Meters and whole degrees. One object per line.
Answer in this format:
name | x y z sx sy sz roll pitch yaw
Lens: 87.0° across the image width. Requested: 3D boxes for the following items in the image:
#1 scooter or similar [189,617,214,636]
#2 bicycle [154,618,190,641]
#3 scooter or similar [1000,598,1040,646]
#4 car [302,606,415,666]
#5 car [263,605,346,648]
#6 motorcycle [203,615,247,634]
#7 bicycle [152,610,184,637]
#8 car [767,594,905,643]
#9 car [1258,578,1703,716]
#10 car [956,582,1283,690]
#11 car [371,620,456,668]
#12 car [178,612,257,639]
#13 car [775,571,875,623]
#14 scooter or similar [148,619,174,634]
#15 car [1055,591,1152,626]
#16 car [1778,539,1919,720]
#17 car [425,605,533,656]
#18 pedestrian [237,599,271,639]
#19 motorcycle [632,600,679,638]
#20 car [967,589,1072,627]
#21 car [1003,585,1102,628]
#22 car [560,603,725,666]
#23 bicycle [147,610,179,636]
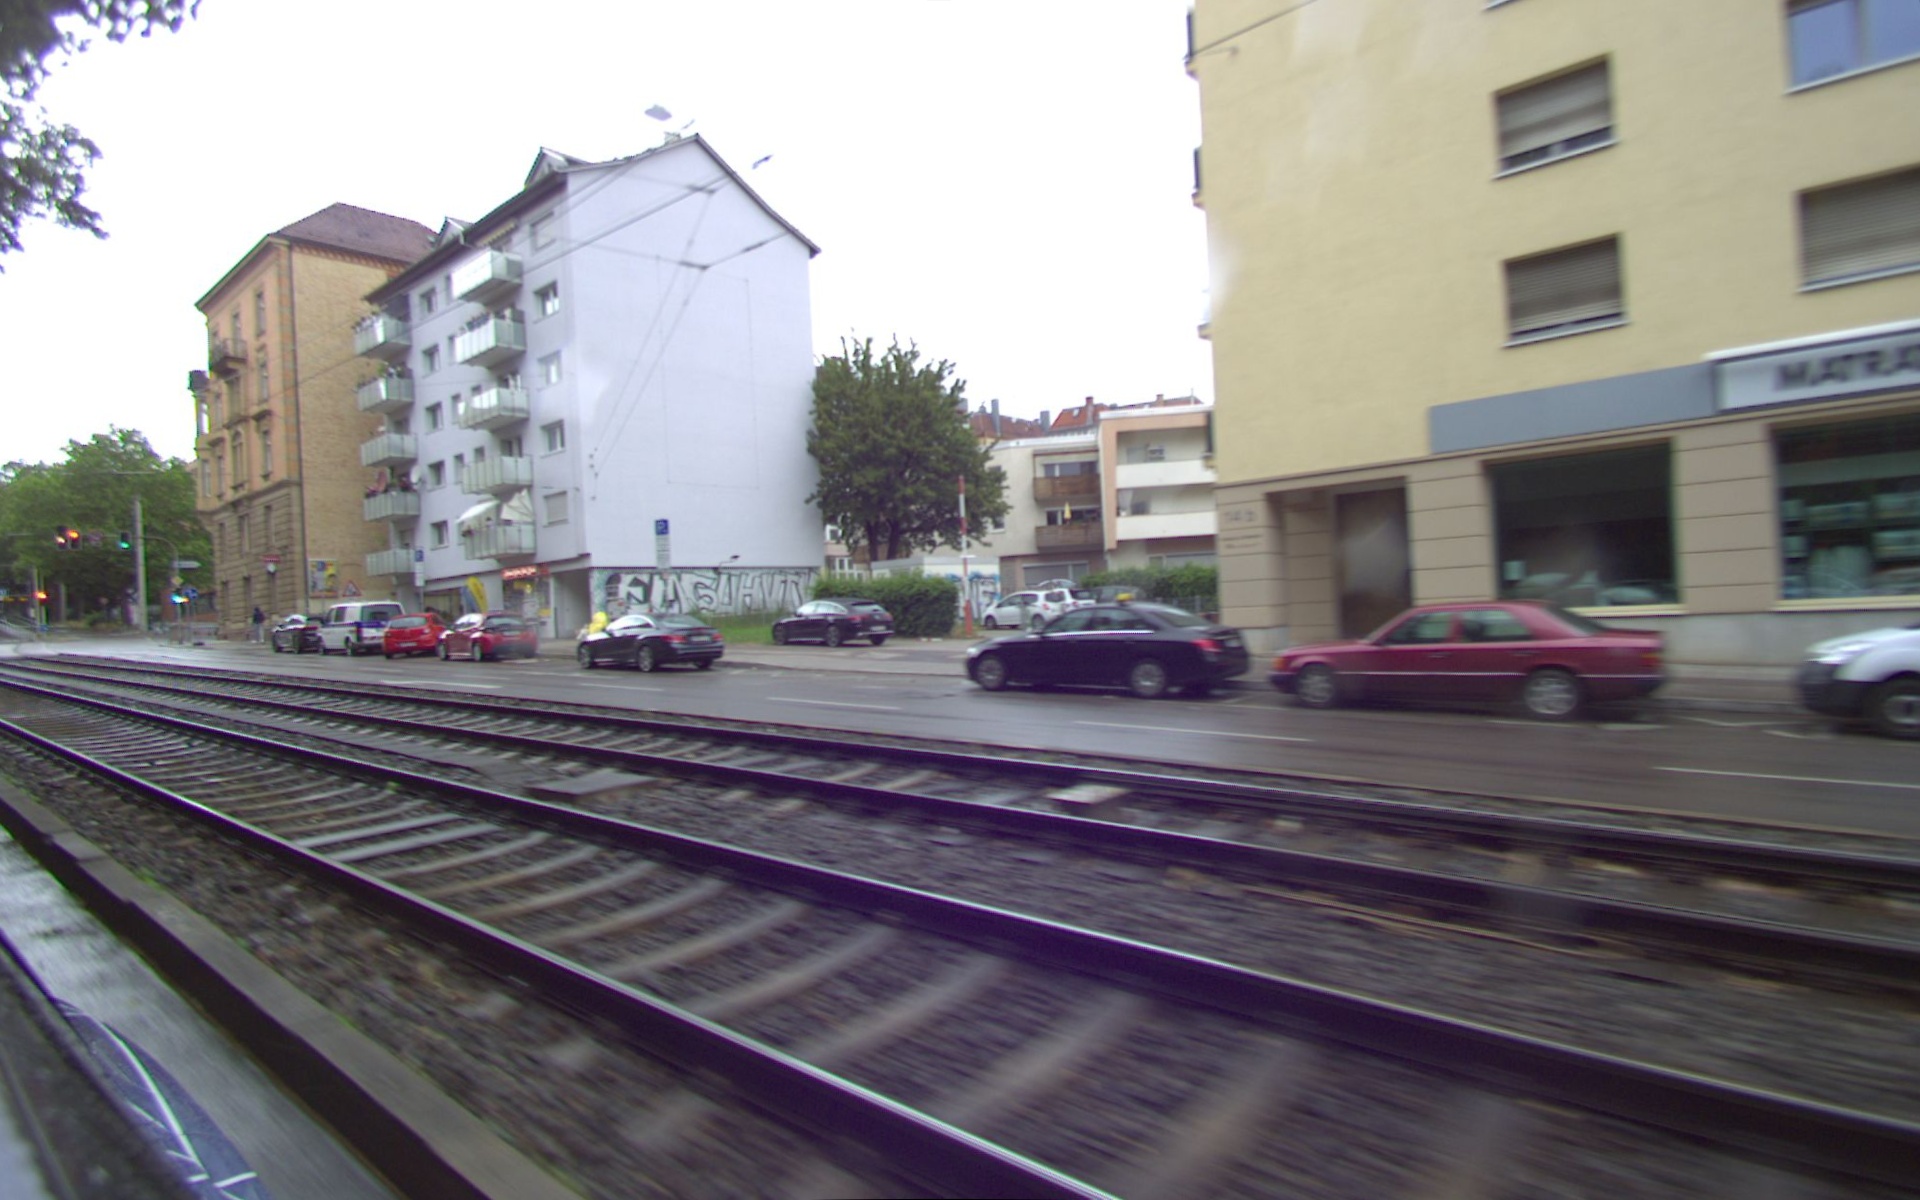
scooter or similar | -58.698 2.034 78.328 0.450 1.381 1.495 -2 0 24
bicycle | -61.182 2.267 78.573 0.555 1.711 2.073 -2 0 34
scooter or similar | 1.515 0.545 25.424 0.378 1.121 1.280 -2 0 34
car | -23.061 1.363 38.713 5.298 2.024 2.049 -2 2 41
car | -27.341 1.094 42.152 4.360 1.663 1.715 -1 0 40
motorcycle | -56.626 1.843 77.995 0.864 1.381 2.628 -1 0 34
bicycle | -62.586 1.813 80.002 0.517 2.029 1.875 -1 1 34
car | -3.798 0.565 30.376 1.848 1.313 4.482 -1 -1 -43
car | 6.566 0.520 13.140 4.829 1.443 1.832 -1 1 41
car | 2.493 0.536 16.535 4.981 1.519 1.835 -1 0 36
car | -19.269 1.517 35.837 1.755 1.444 3.994 -2 1 -15
car | -44.948 1.518 61.342 1.756 1.550 3.790 -1 0 6
car | -5.358 -0.093 39.816 3.998 1.836 1.668 -3 -2 42
scooter or similar | -64.386 2.139 81.560 0.475 1.203 1.707 -1 0 20
car | 5.988 0.330 42.508 3.742 1.352 1.650 0 2 43
car | 10.679 0.255 9.576 4.459 1.730 1.847 -1 0 42
car | -15.040 0.913 31.570 4.073 1.462 1.636 -1 0 42
pedestrian | -35.019 0.948 50.186 1.178 1.943 1.158 -2 0 44
motorcycle | -10.505 0.639 34.872 1.783 1.209 0.633 1 5 40
car | 2.278 0.297 39.378 3.901 1.411 1.651 0 0 41
car | 3.738 0.226 41.352 1.649 1.645 3.907 -2 2 -44
car | -7.961 0.829 25.151 4.618 1.406 1.663 -1 0 40
bicycle | -63.417 1.828 80.554 0.517 2.029 1.875 -1 1 34
